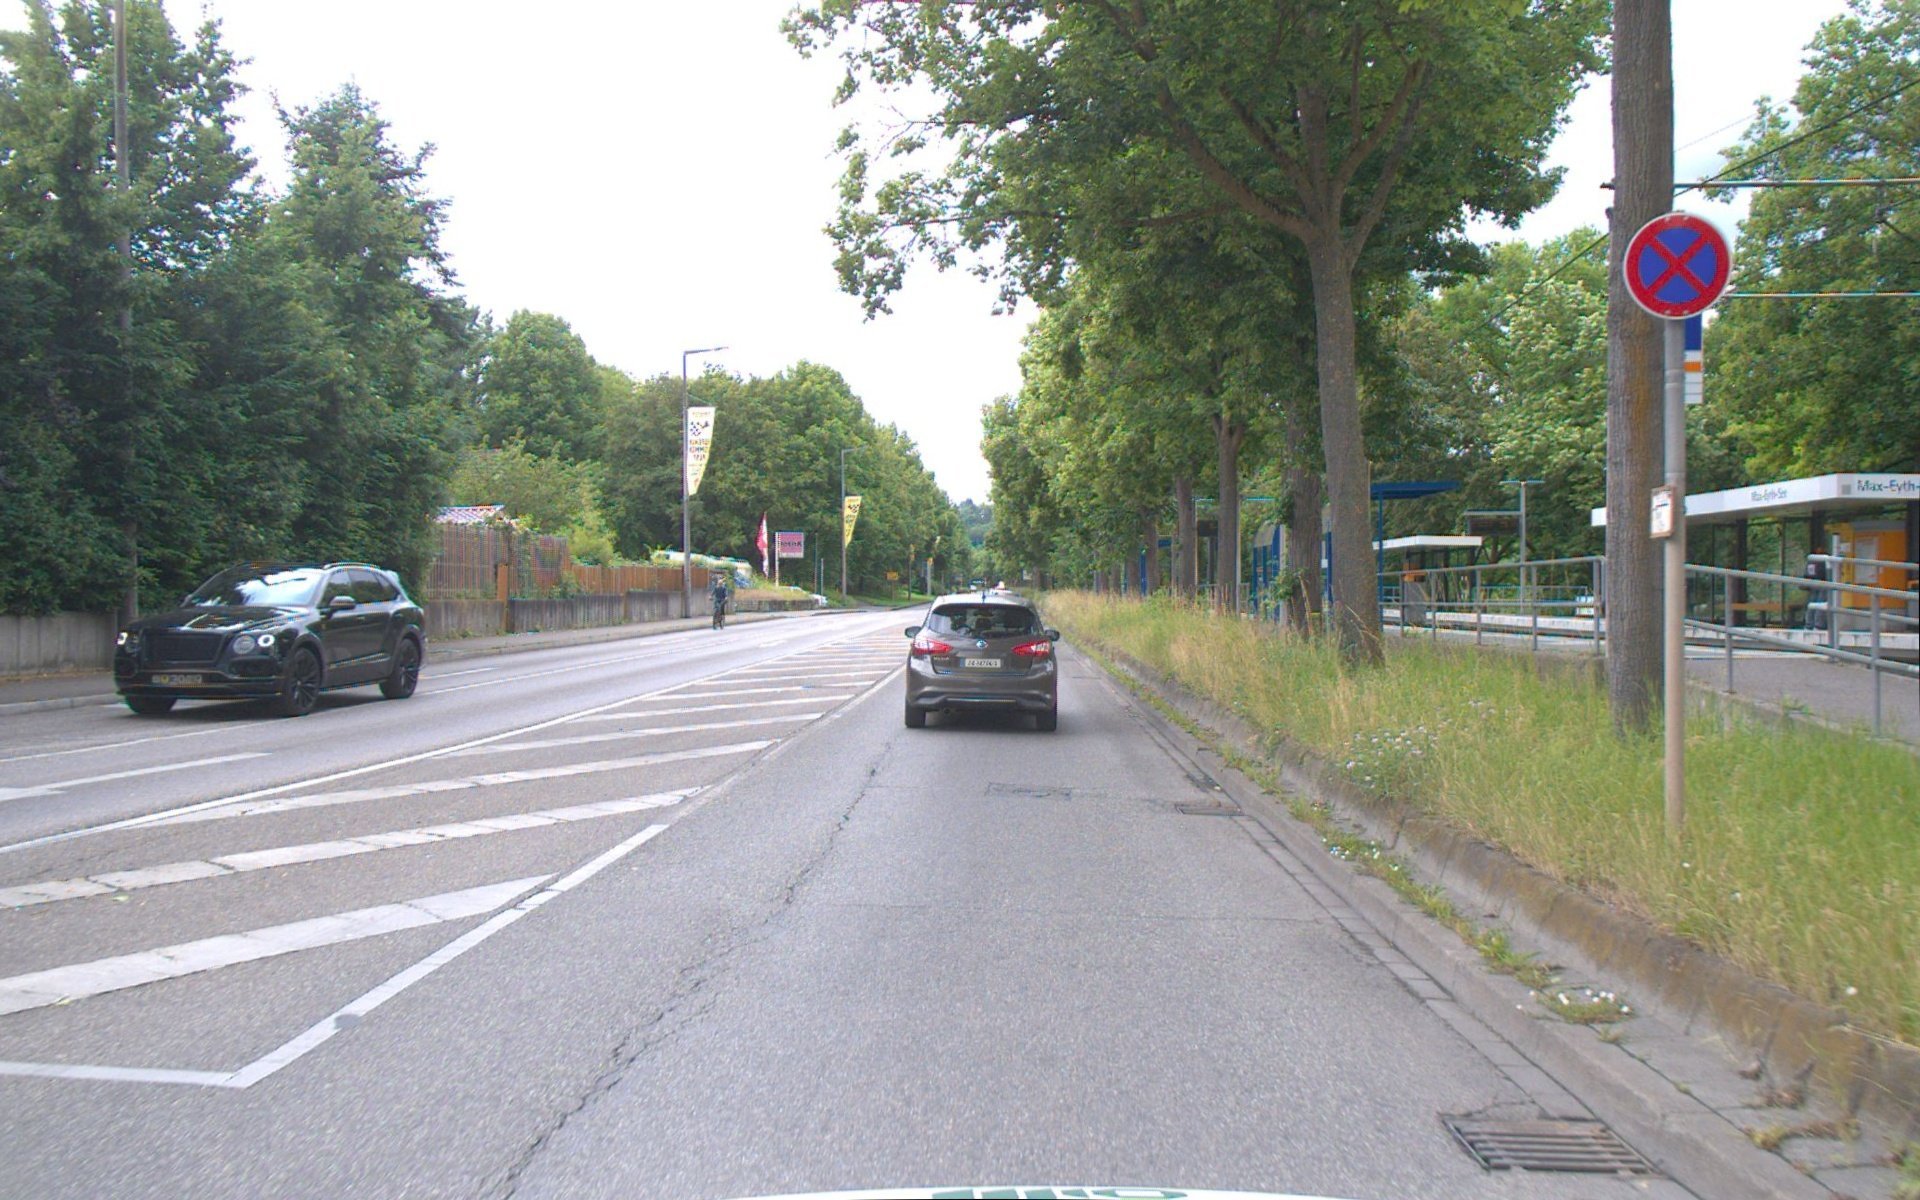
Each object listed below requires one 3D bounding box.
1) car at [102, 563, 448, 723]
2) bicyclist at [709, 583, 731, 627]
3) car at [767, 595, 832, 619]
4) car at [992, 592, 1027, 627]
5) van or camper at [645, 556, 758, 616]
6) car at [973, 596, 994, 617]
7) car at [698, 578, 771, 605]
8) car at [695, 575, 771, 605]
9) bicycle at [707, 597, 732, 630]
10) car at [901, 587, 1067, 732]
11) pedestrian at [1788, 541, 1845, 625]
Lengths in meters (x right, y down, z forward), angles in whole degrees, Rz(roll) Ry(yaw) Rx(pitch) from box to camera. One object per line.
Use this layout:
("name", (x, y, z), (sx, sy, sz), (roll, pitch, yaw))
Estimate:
("car", (-8.168, 0.466, 20.347), (1.862, 1.708, 5.083), (0, 0, 4))
("bicyclist", (-8.680, 0.176, 59.883), (0.629, 1.562, 0.978), (2, 0, -3))
("car", (-11.077, 0.487, 114.258), (4.286, 1.466, 1.961), (2, 0, -1))
("car", (2.290, 0.455, 76.445), (1.471, 1.555, 3.672), (1, 0, 3))
("van or camper", (-17.818, -0.983, 114.238), (6.996, 3.429, 2.797), (5, 0, 1))
("car", (1.765, 0.461, 124.001), (1.472, 1.507, 3.671), (1, 0, 1))
("car", (-13.087, -0.505, 95.991), (3.902, 1.435, 1.534), (2, -1, 6))
("car", (-12.915, -0.575, 94.116), (3.902, 1.523, 1.860), (2, -1, 6))
("bicycle", (-8.715, 0.487, 59.975), (0.629, 1.165, 2.146), (2, 0, -3))
("car", (0.377, 0.659, 20.060), (1.799, 1.555, 3.930), (1, 0, 3))
("pedestrian", (16.140, -0.310, 31.177), (0.703, 1.538, 0.724), (2, -1, 4))
